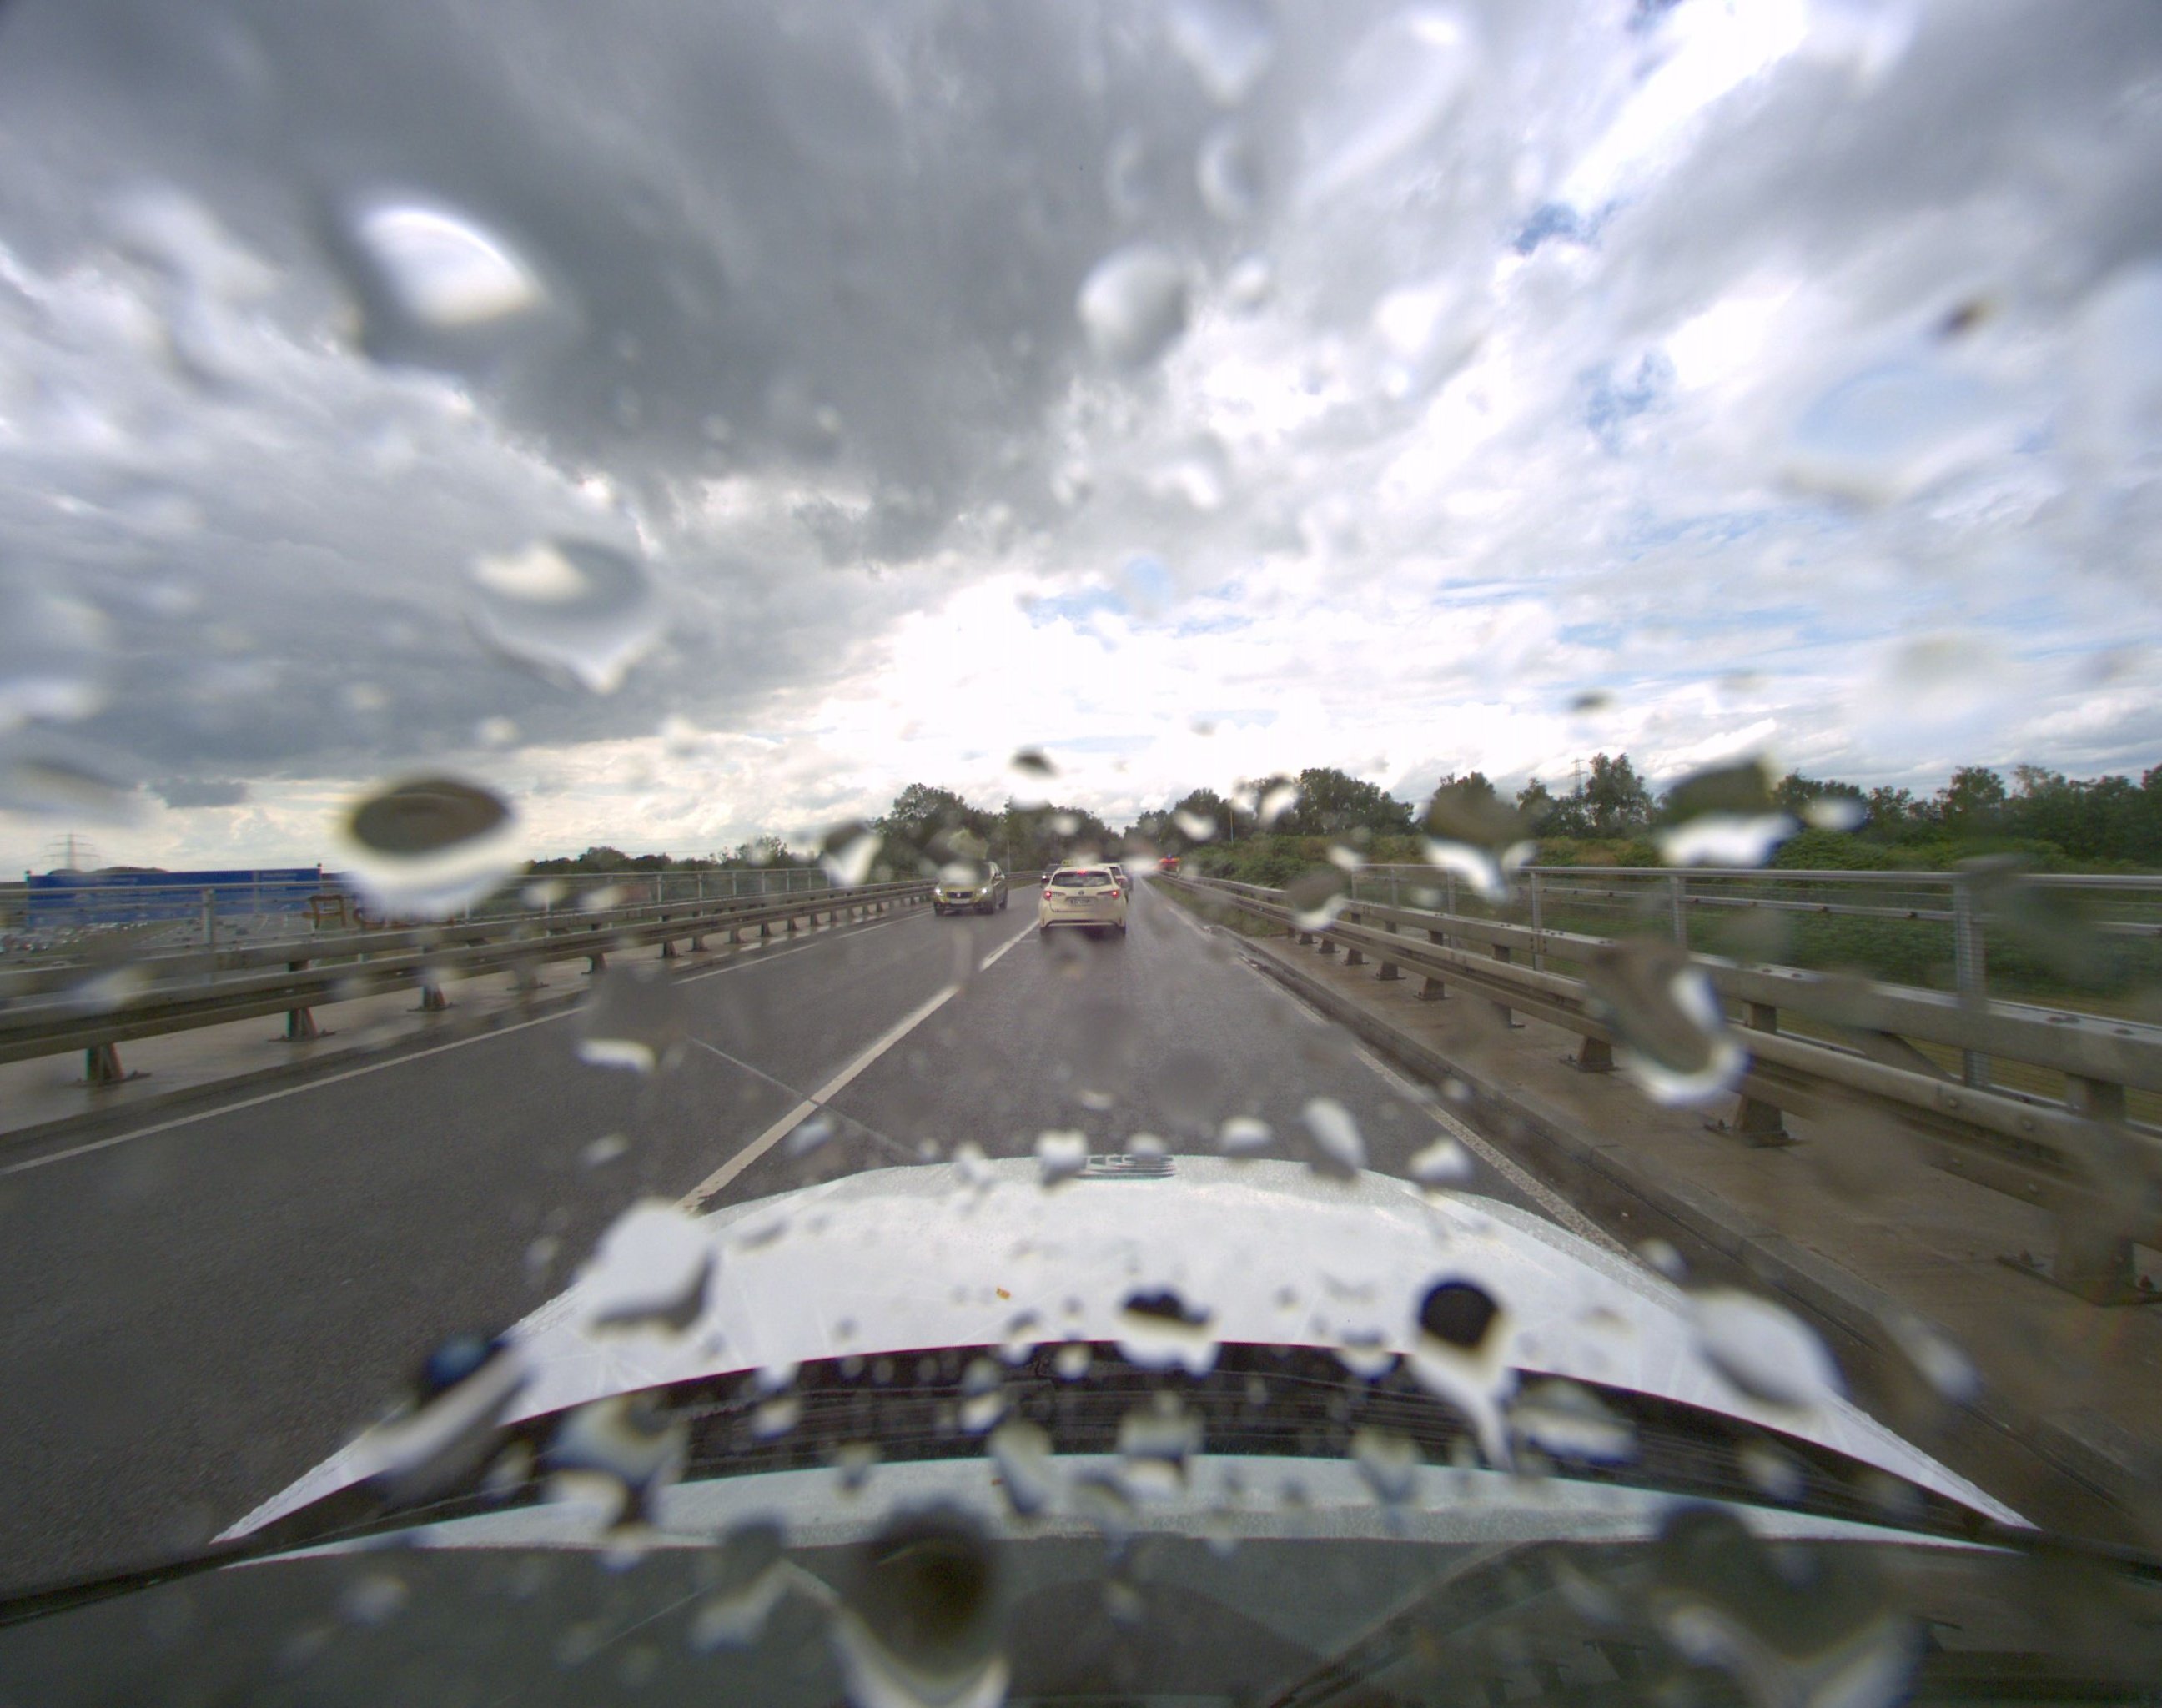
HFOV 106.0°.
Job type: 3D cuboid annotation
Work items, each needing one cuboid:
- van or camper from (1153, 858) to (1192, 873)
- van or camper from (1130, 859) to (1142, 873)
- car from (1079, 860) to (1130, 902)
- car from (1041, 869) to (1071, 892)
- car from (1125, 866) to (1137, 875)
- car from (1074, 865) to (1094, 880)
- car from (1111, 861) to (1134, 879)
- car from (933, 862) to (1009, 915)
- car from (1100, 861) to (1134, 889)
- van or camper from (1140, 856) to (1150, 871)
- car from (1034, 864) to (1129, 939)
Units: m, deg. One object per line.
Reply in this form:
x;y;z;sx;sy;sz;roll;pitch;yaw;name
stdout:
14.288;1.791;126.818;5.683;2.241;2.011;0;0;-12;van or camper
10.953;2.393;163.068;2.322;2.864;6.312;0;0;4;van or camper
0.920;1.001;31.677;1.847;1.443;4.173;0;0;2;car
-1.612;1.741;54.237;1.690;1.432;4.325;0;0;2;car
8.671;2.831;140.186;1.845;1.443;4.177;0;0;6;car
0.305;1.861;82.534;1.803;1.509;4.614;0;0;2;car
3.445;1.292;67.457;1.847;1.443;4.173;0;0;2;car
-3.319;1.050;25.305;1.707;1.517;3.861;0;-1;2;car
2.028;1.168;46.653;1.847;1.443;4.173;0;0;2;car
15.219;2.316;194.206;2.322;3.562;6.312;0;0;4;van or camper
0.090;0.950;17.881;1.847;1.394;4.173;0;0;2;car
